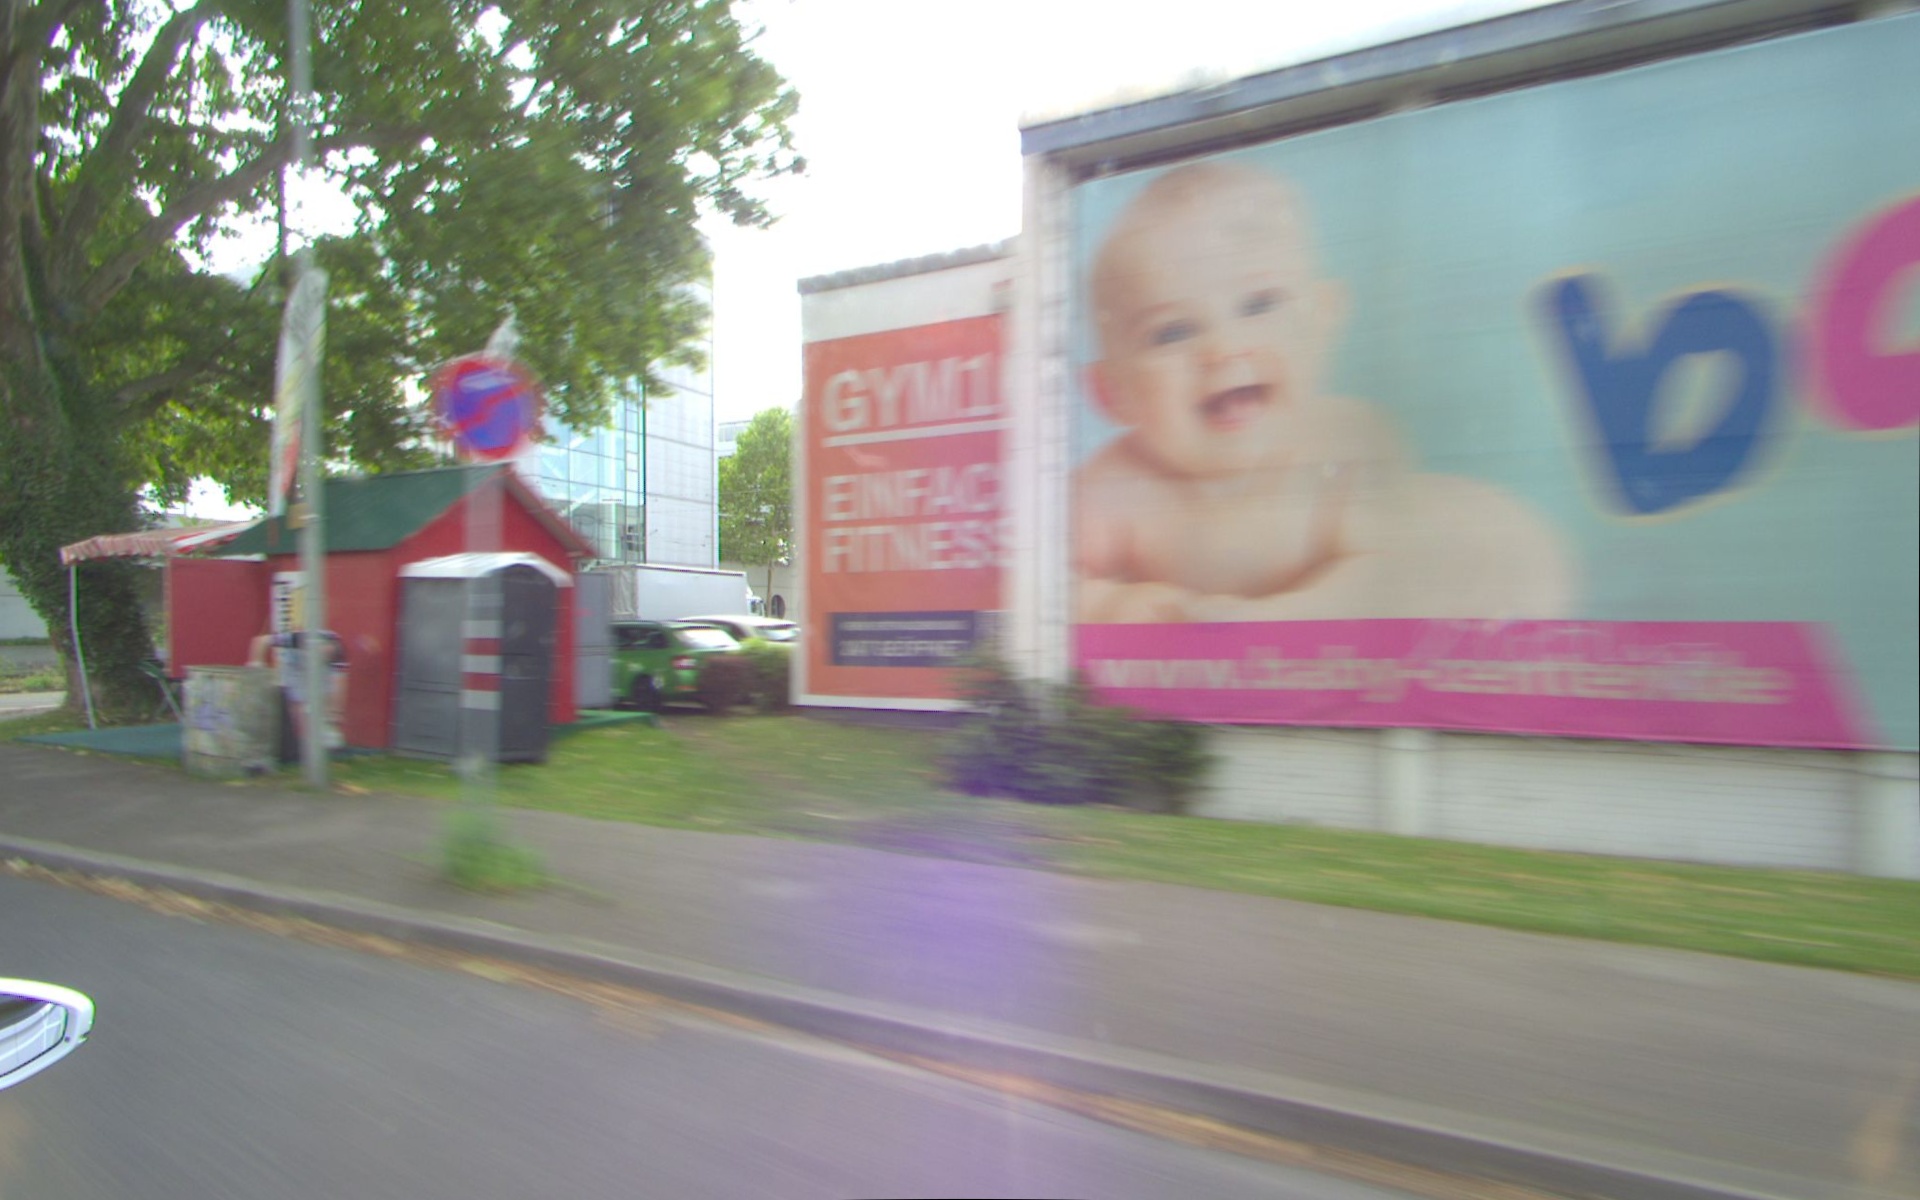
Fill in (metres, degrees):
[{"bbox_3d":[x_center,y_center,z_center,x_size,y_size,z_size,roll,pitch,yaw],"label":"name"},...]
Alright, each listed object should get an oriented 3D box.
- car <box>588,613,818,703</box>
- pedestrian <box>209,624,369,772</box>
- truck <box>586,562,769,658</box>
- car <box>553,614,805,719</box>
[{"bbox_3d":[-4.869,1.045,19.047,3.929,1.589,1.742,0,-1,19],"label":"car"},{"bbox_3d":[-6.469,0.900,9.673,0.951,1.331,1.011,-1,-1,34],"label":"pedestrian"},{"bbox_3d":[-12.661,0.519,46.083,2.753,3.947,9.519,-1,-1,23],"label":"truck"},{"bbox_3d":[-4.637,1.007,16.411,3.940,1.531,1.738,0,-1,30],"label":"car"}]
